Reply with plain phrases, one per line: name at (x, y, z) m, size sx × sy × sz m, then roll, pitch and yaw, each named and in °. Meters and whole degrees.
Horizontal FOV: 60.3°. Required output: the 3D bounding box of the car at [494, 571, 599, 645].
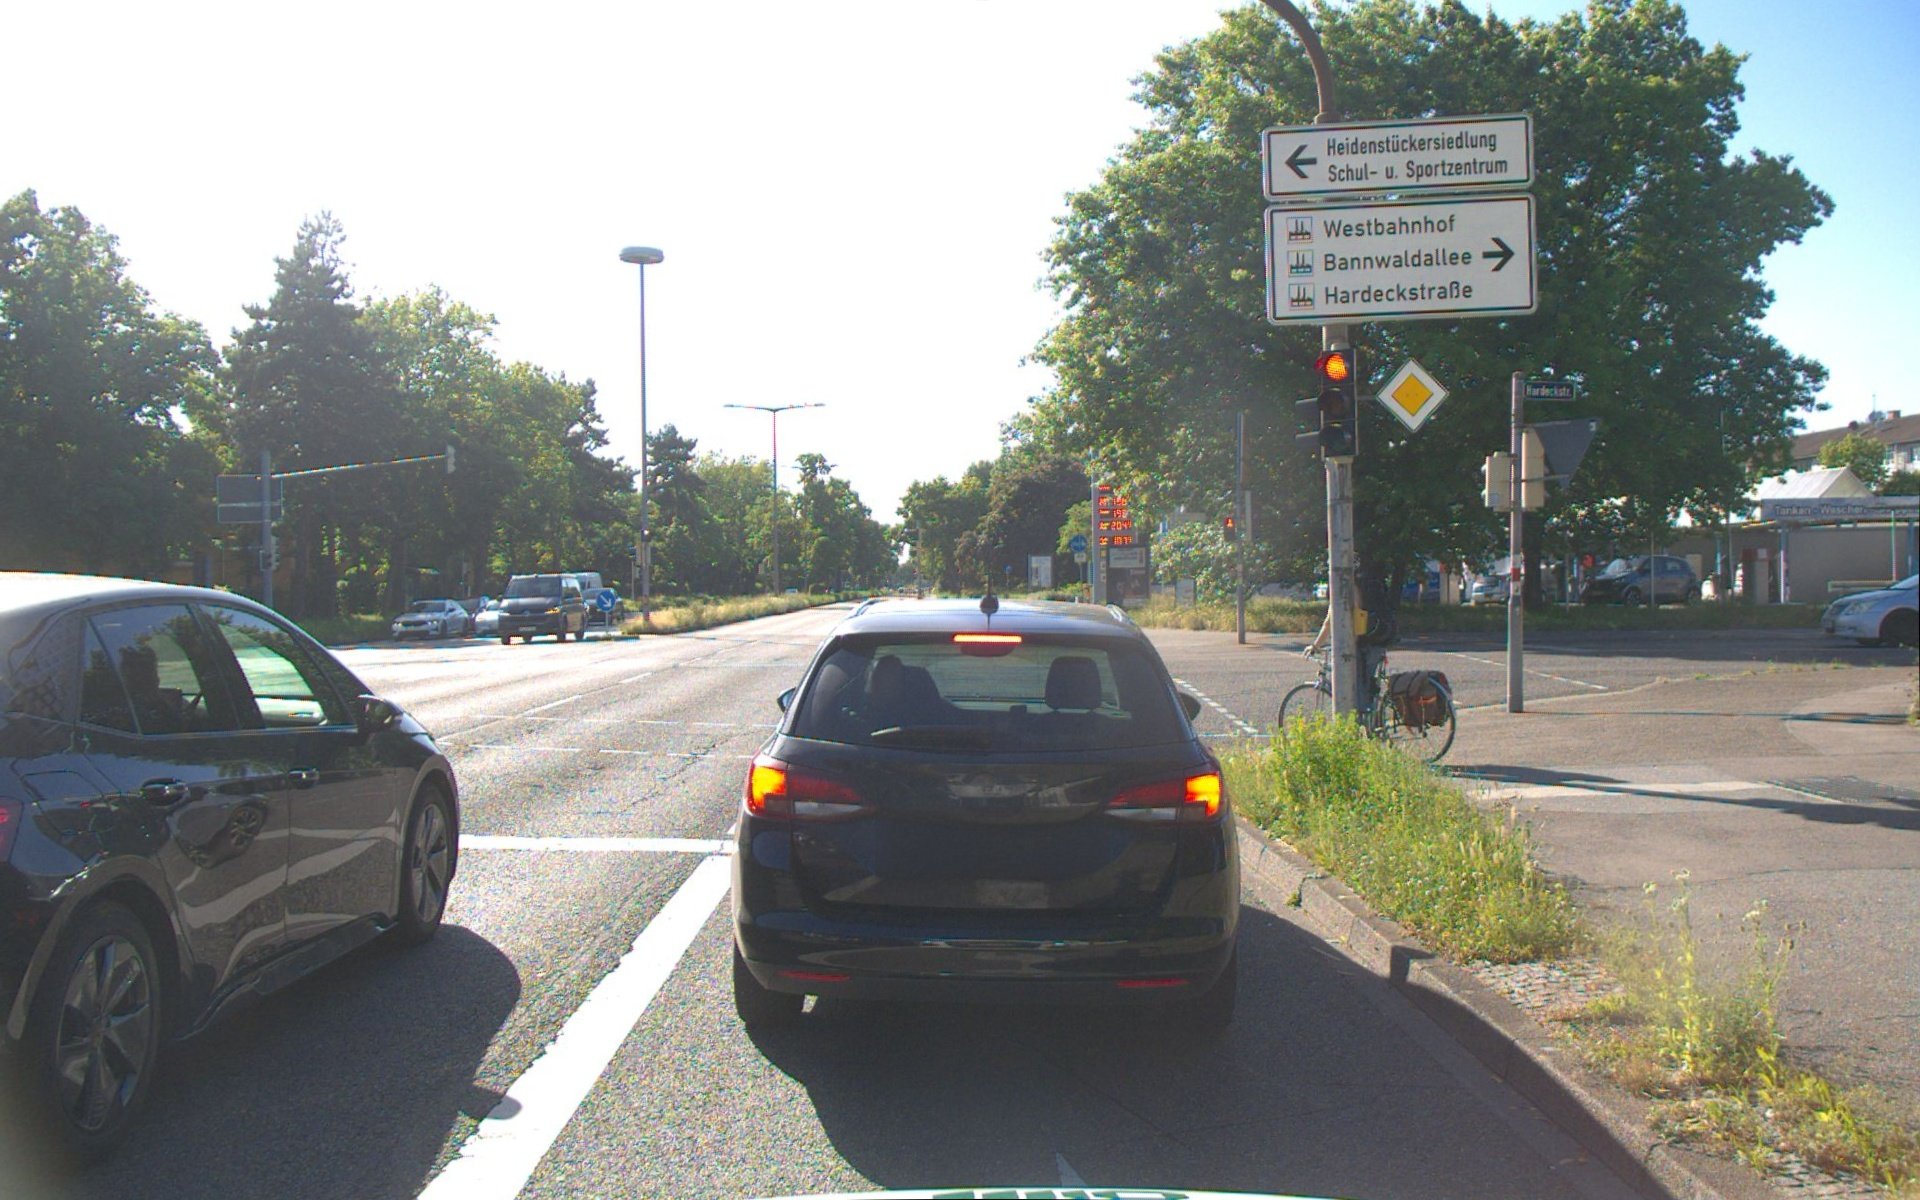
car at (-12.214, 0.210, 49.176) m, size 1.872 × 2.027 × 5.014 m, roll -1°, pitch 0°, yaw -1°

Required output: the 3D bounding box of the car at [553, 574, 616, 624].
car at (-20.060, -0.060, 88.561) m, size 2.057 × 2.536 × 6.003 m, roll -1°, pitch 0°, yaw -1°

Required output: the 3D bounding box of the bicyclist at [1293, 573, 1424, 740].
bicyclist at (3.218, 0.455, 13.379) m, size 0.534 × 1.299 × 0.816 m, roll -2°, pitch -2°, yaw -44°

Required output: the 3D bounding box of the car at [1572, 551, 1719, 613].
car at (19.989, -0.536, 48.202) m, size 3.934 × 1.709 × 1.732 m, roll -2°, pitch 0°, yaw -24°

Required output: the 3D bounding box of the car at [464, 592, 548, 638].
car at (-16.542, 0.517, 60.490) m, size 1.850 × 1.551 × 4.503 m, roll -1°, pitch 0°, yaw -1°

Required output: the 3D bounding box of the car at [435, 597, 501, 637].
car at (-20.233, 0.682, 68.210) m, size 1.652 × 1.535 × 4.001 m, roll -1°, pitch 0°, yaw -3°

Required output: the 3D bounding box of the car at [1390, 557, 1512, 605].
car at (16.910, -0.654, 56.991) m, size 3.837 × 1.544 × 1.732 m, roll -2°, pitch 0°, yaw -24°

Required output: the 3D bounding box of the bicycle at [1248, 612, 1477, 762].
bicycle at (3.226, 0.702, 13.377) m, size 0.533 × 1.117 × 1.748 m, roll -2°, pitch -2°, yaw -44°

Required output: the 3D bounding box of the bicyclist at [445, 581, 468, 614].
bicyclist at (-26.578, -0.131, 87.327) m, size 0.858 × 1.677 × 1.198 m, roll -2°, pitch 0°, yaw -4°

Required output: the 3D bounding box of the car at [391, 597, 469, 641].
car at (-19.663, 0.674, 61.524) m, size 1.652 × 1.535 × 4.003 m, roll -1°, pitch 0°, yaw -1°

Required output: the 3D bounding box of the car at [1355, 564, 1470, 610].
car at (16.433, -0.467, 60.066) m, size 3.837 × 1.544 × 1.732 m, roll -2°, pitch 0°, yaw -24°

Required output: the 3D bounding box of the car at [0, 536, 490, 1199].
car at (-2.999, 0.661, 5.612) m, size 1.650 × 1.608 × 4.206 m, roll 0°, pitch 0°, yaw -1°

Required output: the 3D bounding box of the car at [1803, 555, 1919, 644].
car at (17.707, -0.046, 28.919) m, size 4.897 × 1.512 × 2.002 m, roll -1°, pitch 0°, yaw 11°

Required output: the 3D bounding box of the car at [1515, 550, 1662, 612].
car at (19.025, -0.581, 50.047) m, size 3.935 × 1.780 × 1.985 m, roll -1°, pitch 0°, yaw -24°

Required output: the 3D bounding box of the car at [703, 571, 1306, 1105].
car at (0.102, 0.686, 6.844) m, size 1.721 × 1.521 × 4.206 m, roll 0°, pitch 0°, yaw -1°

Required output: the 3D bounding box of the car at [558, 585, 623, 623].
car at (-16.750, 0.152, 75.247) m, size 1.953 × 1.629 × 4.615 m, roll -1°, pitch 0°, yaw -1°

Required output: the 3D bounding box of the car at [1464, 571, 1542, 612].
car at (23.523, -0.375, 71.563) m, size 1.715 × 1.709 × 3.974 m, roll -1°, pitch 0°, yaw 43°
